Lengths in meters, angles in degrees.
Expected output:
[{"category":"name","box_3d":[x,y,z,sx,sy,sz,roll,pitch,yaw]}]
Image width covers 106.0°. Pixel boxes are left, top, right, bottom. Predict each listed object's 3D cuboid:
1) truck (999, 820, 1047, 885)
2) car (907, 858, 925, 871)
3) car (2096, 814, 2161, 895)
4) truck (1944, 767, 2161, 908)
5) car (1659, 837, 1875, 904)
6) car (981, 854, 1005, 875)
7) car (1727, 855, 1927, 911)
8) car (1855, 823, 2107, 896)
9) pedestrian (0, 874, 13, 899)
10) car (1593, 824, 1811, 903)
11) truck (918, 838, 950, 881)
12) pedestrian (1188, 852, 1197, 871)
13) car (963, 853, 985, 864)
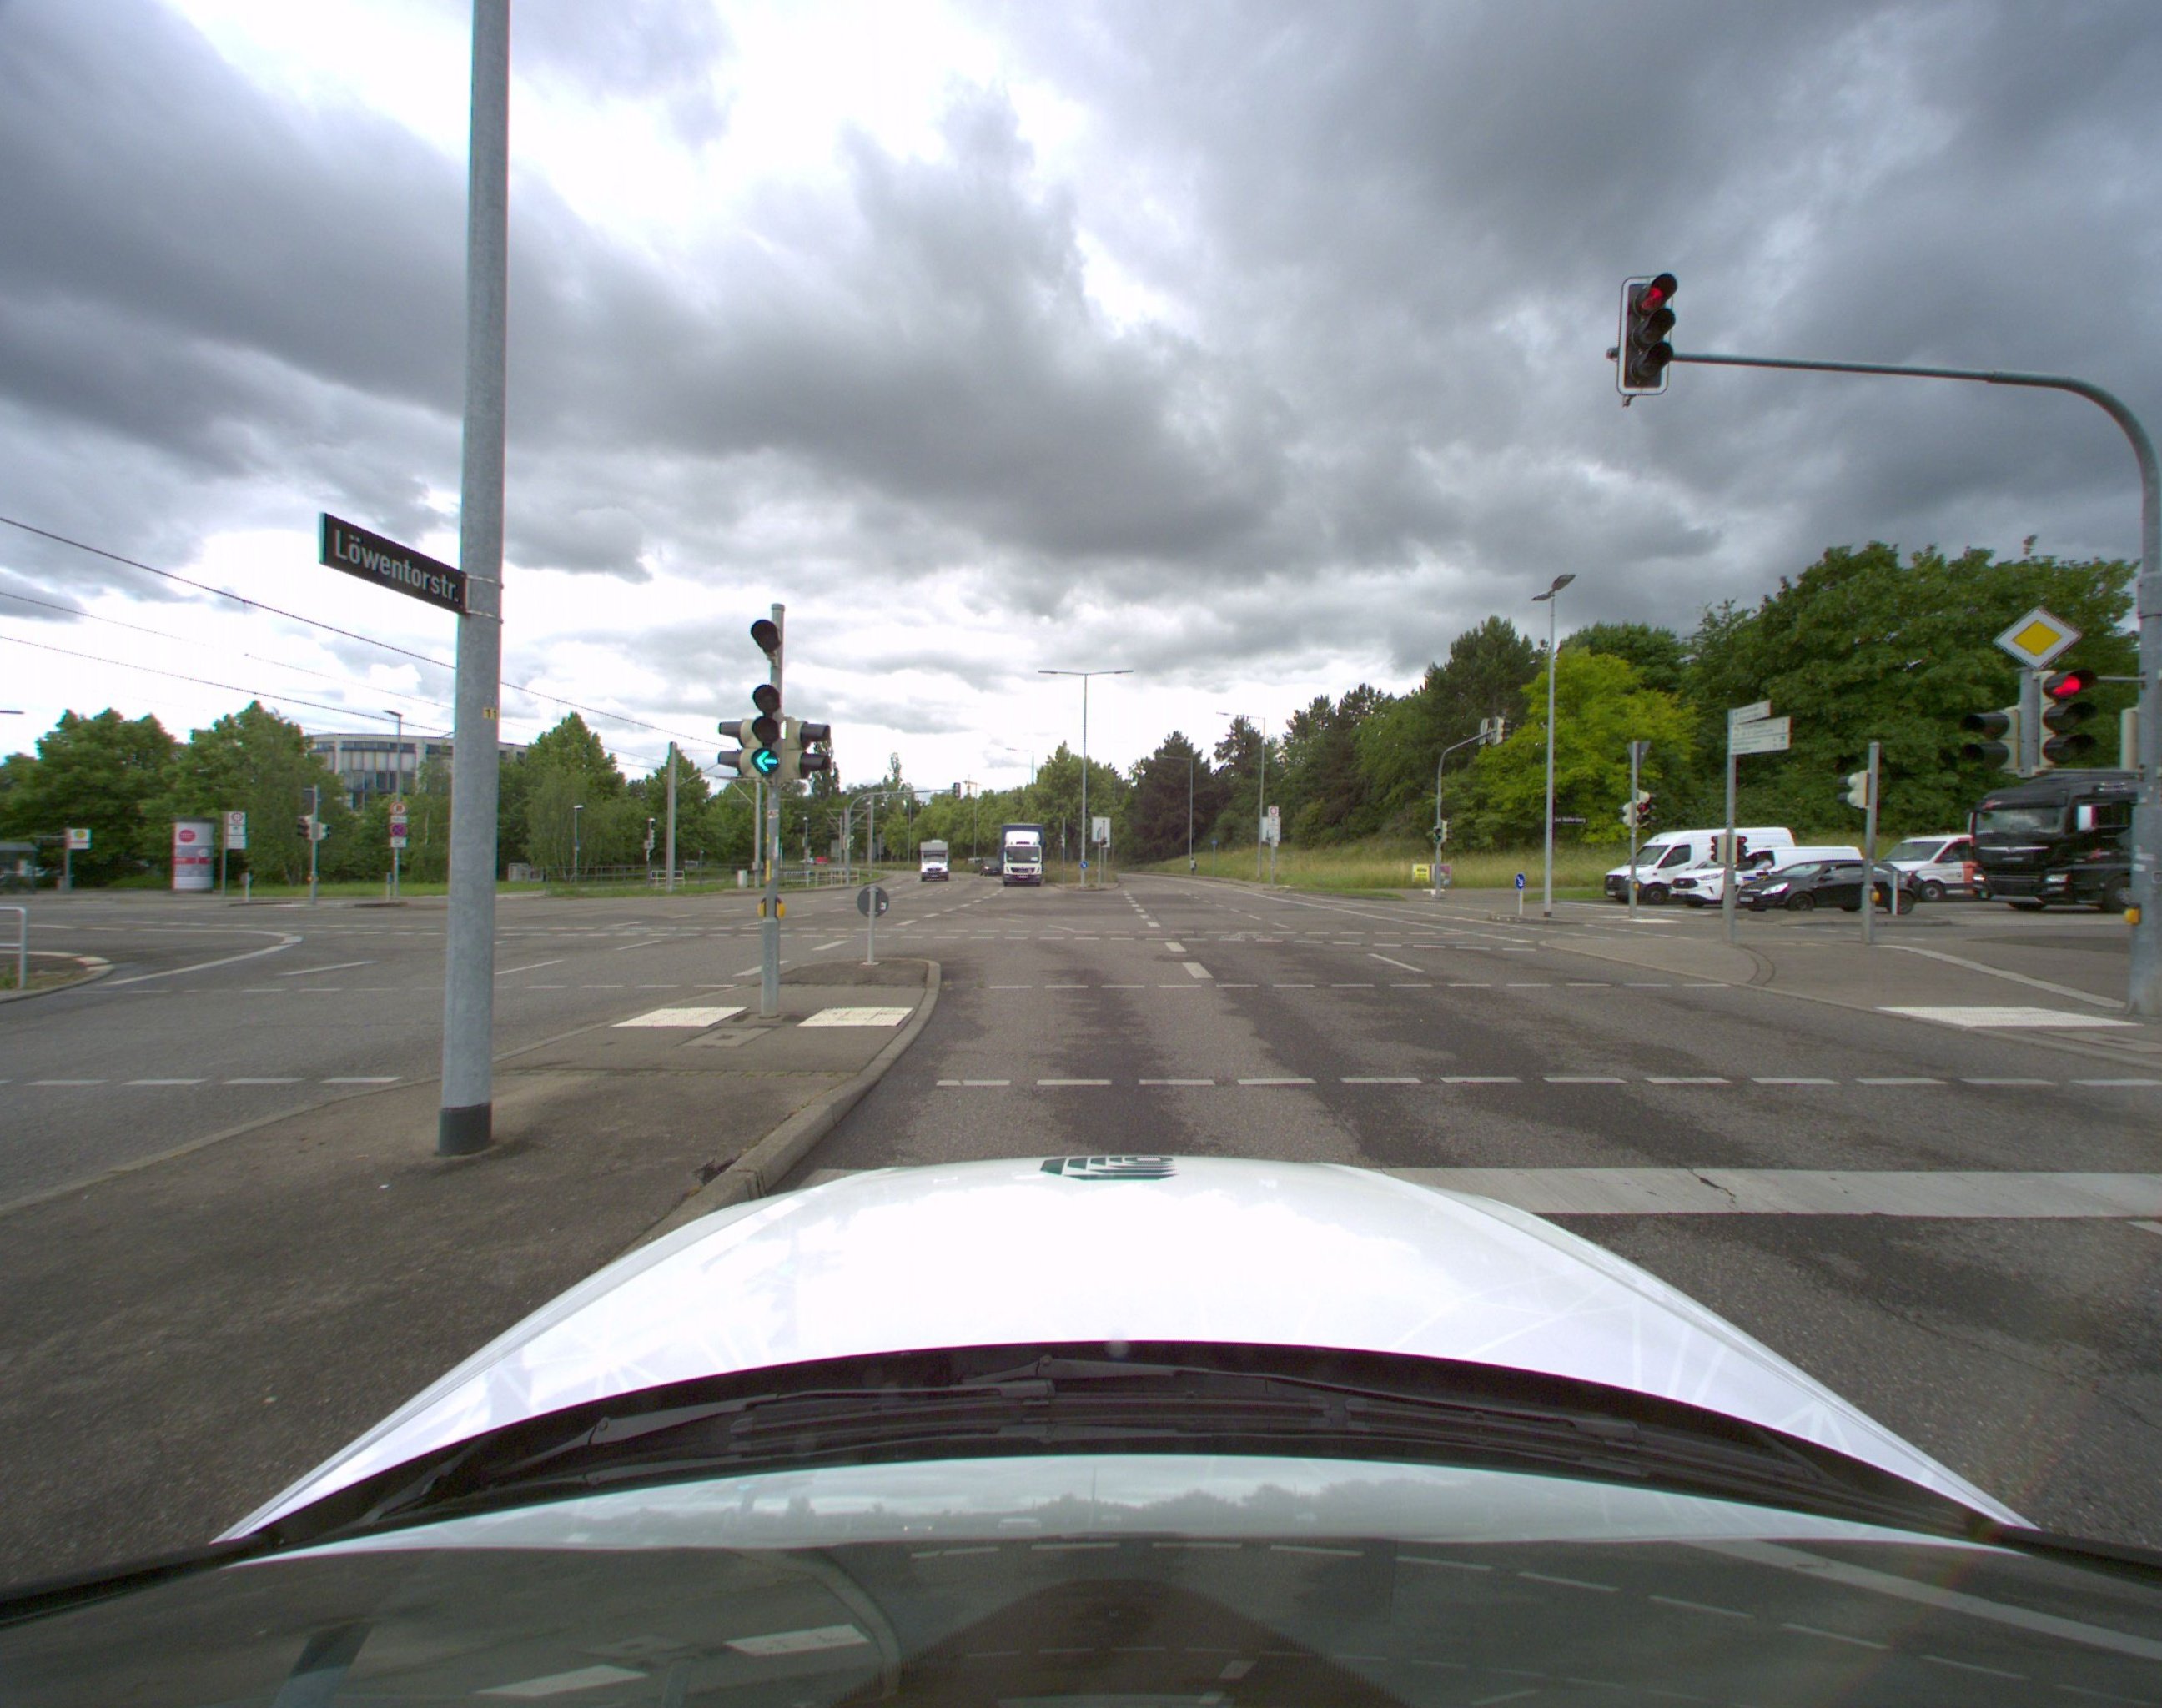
[{"category":"truck","box_3d":[-3.638,-0.077,51.660,2.773,3.804,8.377,0,0,-4]},{"category":"car","box_3d":[-24.140,1.480,118.834,2.001,1.783,3.972,0,0,-21]},{"category":"car","box_3d":[39.853,-0.009,28.055,6.635,2.720,2.230,-1,-1,3]},{"category":"truck","box_3d":[27.987,-0.405,21.992,5.915,3.518,3.077,-1,-1,3]},{"category":"car","box_3d":[21.613,0.541,25.842,4.952,1.991,2.121,-1,-2,2]},{"category":"car","box_3d":[-8.846,1.061,81.240,1.994,2.013,4.591,0,0,-11]},{"category":"car","box_3d":[20.222,0.773,22.205,3.836,1.442,1.638,-1,0,4]},{"category":"car","box_3d":[30.923,0.208,28.170,5.913,2.386,2.231,-1,-1,4]},{"category":"pedestrian","box_3d":[-56.467,1.705,42.391,0.774,1.252,0.769,-1,0,-27]},{"category":"car","box_3d":[21.949,0.354,28.997,5.915,2.659,2.230,-1,-1,3]},{"category":"truck","box_3d":[-11.143,0.405,61.911,2.105,3.010,6.252,-4,0,-10]},{"category":"pedestrian","box_3d":[10.145,0.669,74.062,0.736,1.717,0.625,0,0,1]},{"category":"car","box_3d":[-17.580,0.703,133.451,2.008,1.728,3.687,0,0,-35]}]
